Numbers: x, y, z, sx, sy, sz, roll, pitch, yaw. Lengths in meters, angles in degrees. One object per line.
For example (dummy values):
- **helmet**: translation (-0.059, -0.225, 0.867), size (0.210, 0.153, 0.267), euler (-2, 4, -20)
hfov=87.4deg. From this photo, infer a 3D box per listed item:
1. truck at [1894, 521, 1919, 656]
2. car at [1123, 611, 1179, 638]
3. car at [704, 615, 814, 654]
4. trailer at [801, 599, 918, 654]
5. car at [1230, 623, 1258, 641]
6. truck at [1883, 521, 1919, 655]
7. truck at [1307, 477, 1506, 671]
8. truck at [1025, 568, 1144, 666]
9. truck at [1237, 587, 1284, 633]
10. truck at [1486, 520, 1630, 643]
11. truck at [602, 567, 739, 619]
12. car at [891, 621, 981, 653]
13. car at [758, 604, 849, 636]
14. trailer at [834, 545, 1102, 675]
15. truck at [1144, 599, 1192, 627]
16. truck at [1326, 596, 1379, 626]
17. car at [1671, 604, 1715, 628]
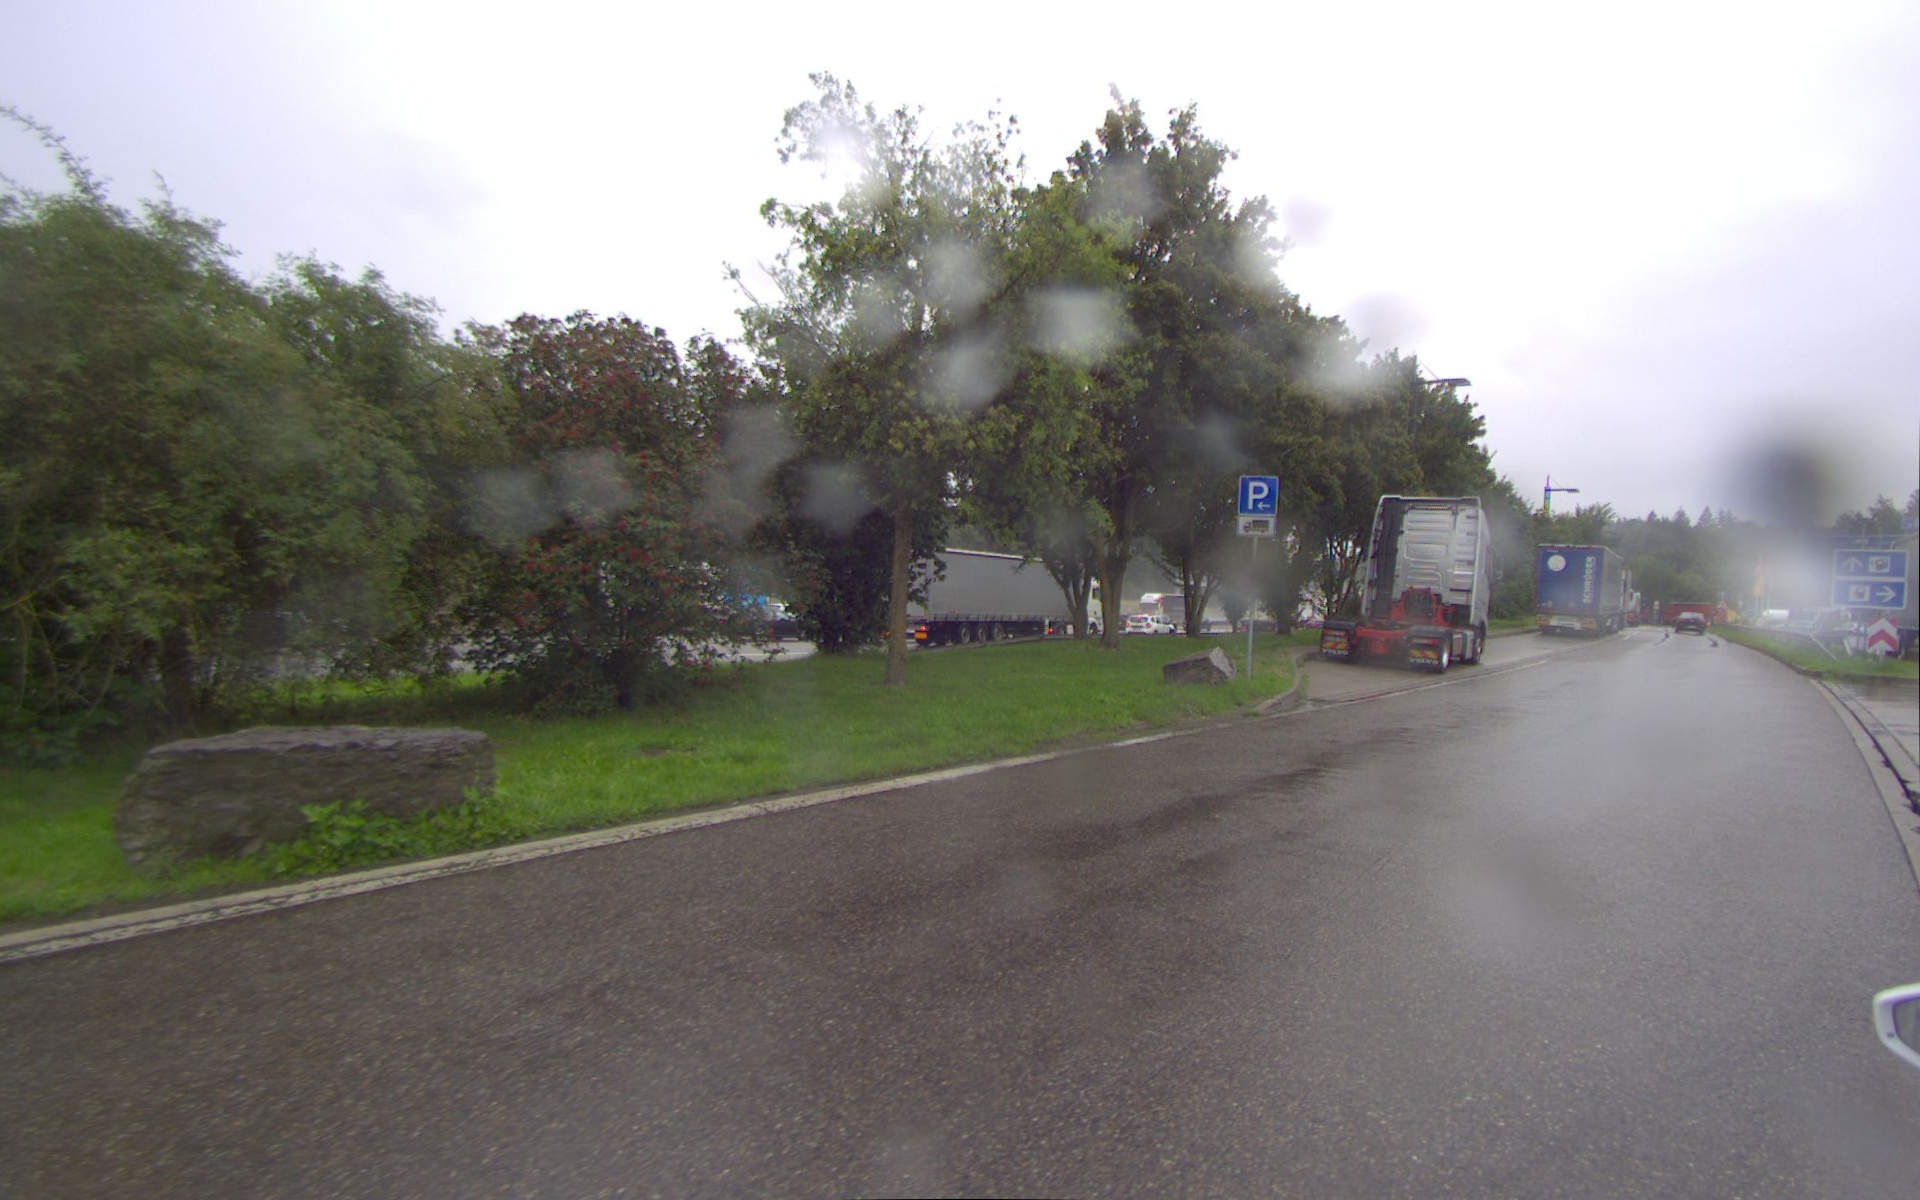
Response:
- **truck**: translation (27.812, -0.335, 27.096), size (2.340, 3.926, 12.408), euler (1, 1, 36)
- **car**: translation (11.451, 1.451, 60.049), size (1.883, 1.571, 3.988), euler (1, 0, 34)
- **car**: translation (-8.722, 1.518, 43.891), size (1.968, 1.560, 4.511), euler (1, -1, 37)
- **trailer**: translation (-4.225, 1.146, 43.069), size (2.101, 2.184, 5.161), euler (1, -1, 36)
- **car**: translation (29.378, 3.264, 103.912), size (1.787, 1.791, 3.991), euler (1, 0, 31)
- **truck**: translation (30.968, -0.330, 31.365), size (2.340, 3.926, 6.985), euler (1, 1, 36)
- **truck**: translation (10.752, -0.546, 23.841), size (2.878, 3.957, 6.292), euler (2, 1, 37)
- **truck**: translation (5.677, 0.793, 44.934), size (2.833, 4.106, 5.917), euler (1, -1, 34)
- **truck**: translation (24.360, 0.868, 81.297), size (2.465, 3.408, 4.746), euler (6, 2, 29)
- **truck**: translation (29.702, -0.835, 49.514), size (4.731, 5.377, 11.025), euler (2, 1, 37)
- **truck**: translation (-17.819, -0.323, 62.566), size (2.216, 2.990, 8.919), euler (1, 0, 34)
- **car**: translation (-1.063, 1.718, 47.038), size (1.822, 1.366, 4.566), euler (1, -1, 36)
- **car**: translation (-8.058, 1.041, 52.069), size (1.968, 1.561, 4.511), euler (1, -1, 37)
- **trailer**: translation (0.981, 0.553, 37.915), size (2.855, 4.035, 14.080), euler (1, -2, 33)
- **truck**: translation (27.719, 1.637, 133.538), size (2.738, 3.552, 8.649), euler (2, 1, 38)
- **truck**: translation (45.888, 1.233, 117.524), size (5.178, 3.043, 1.992), euler (7, 5, 37)
- **car**: translation (49.942, 1.087, 68.386), size (1.858, 1.481, 3.976), euler (4, 1, 43)
